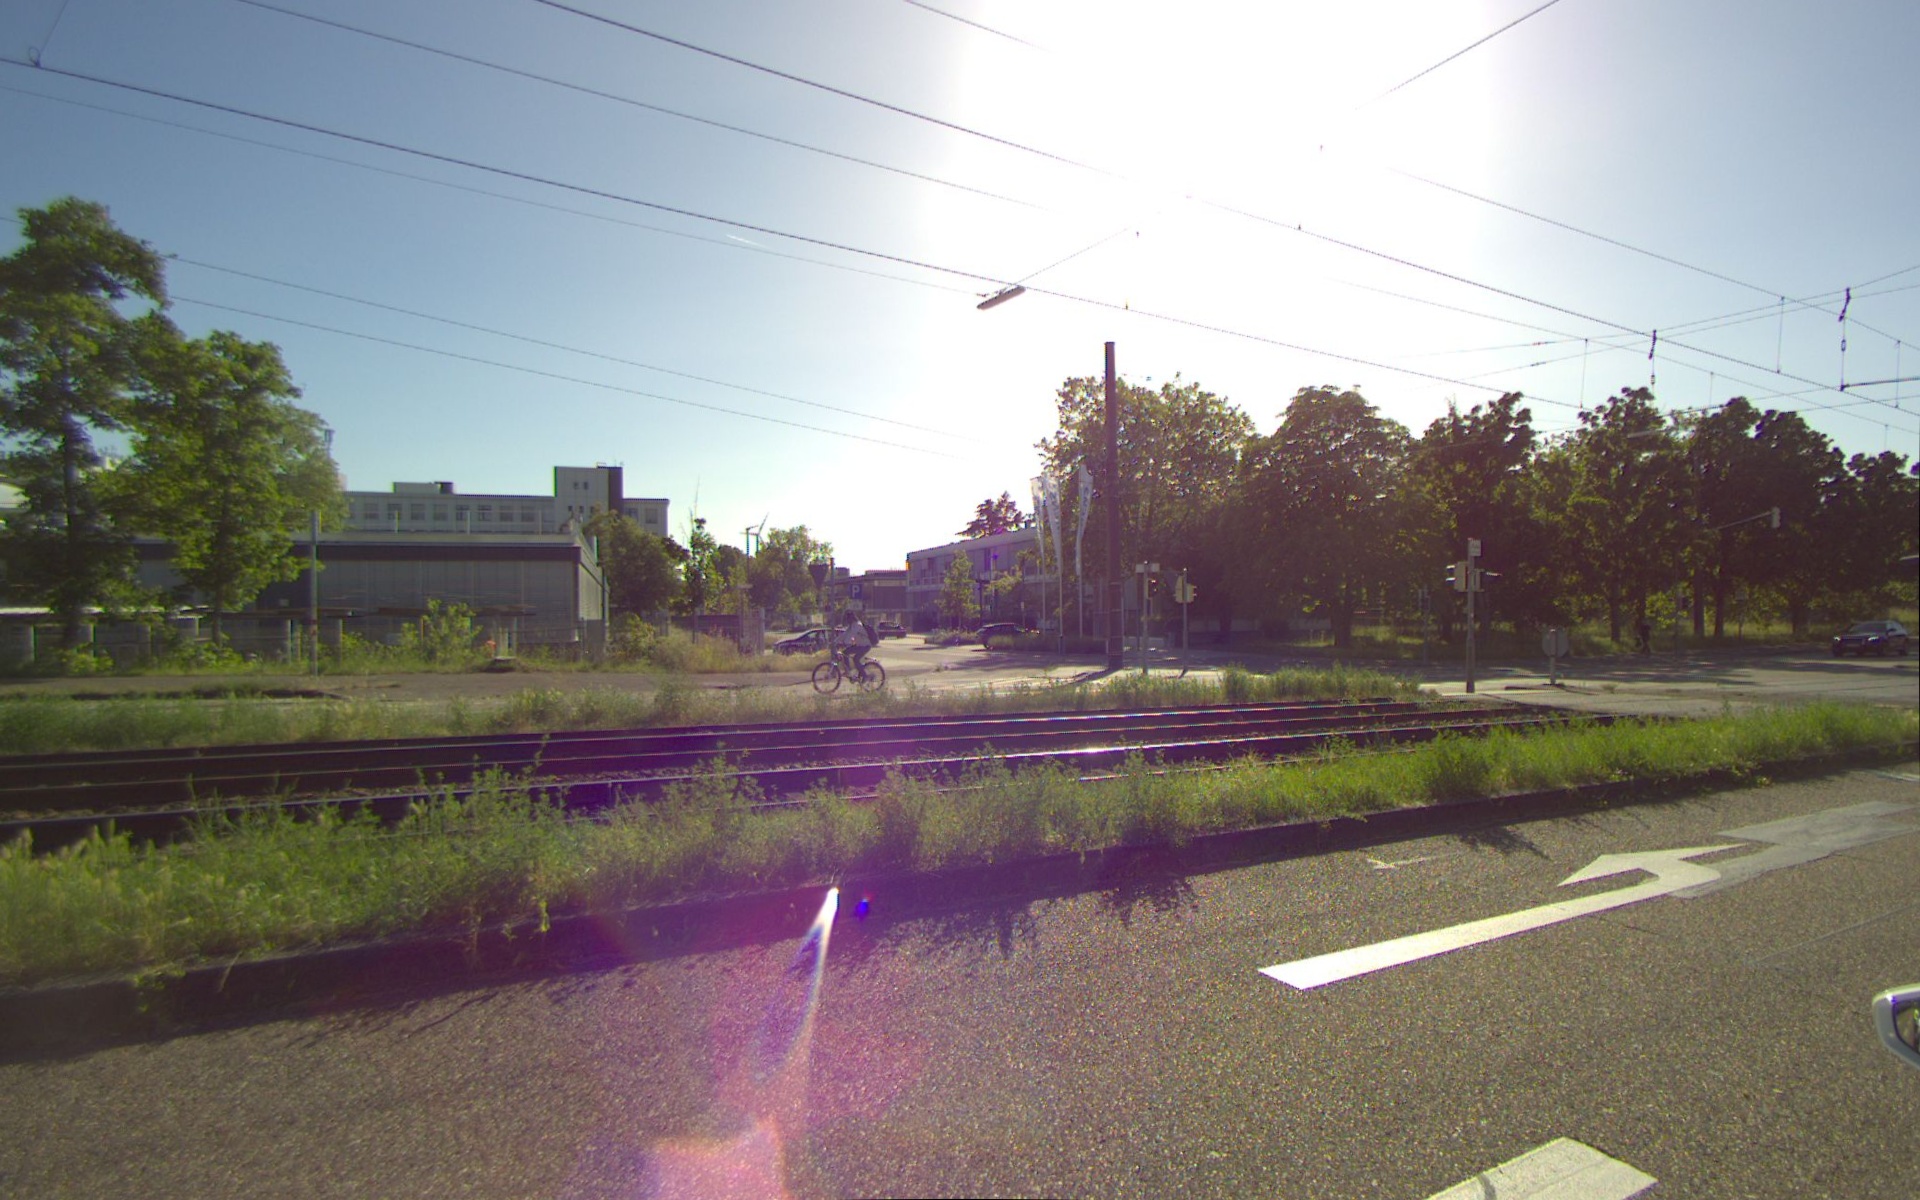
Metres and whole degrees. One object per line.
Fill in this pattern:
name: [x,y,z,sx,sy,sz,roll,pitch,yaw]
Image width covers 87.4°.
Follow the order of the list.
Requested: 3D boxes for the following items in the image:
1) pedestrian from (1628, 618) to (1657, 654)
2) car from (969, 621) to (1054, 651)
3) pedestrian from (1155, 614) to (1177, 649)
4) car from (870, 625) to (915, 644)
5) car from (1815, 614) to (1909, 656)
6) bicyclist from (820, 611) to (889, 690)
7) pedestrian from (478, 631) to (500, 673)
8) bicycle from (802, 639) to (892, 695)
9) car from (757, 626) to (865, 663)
pedestrian: [34.102,1.783,50.174,0.919,1.757,0.761,0,0,-2]
car: [3.164,2.192,61.690,4.768,1.751,2.042,1,0,-21]
pedestrian: [10.815,1.632,52.739,0.807,1.811,0.950,0,0,-16]
car: [-6.021,3.077,89.625,3.566,1.611,1.792,1,-1,-23]
car: [43.074,1.664,47.946,4.739,1.834,2.082,0,-2,-32]
bicyclist: [-2.230,1.051,21.240,1.221,1.614,0.799,1,0,-29]
pedestrian: [-14.739,1.619,31.445,0.432,1.318,0.441,0,0,18]
bicycle: [-2.378,1.393,21.161,1.760,1.117,0.693,1,0,-30]
car: [-7.716,2.293,51.896,5.210,1.772,2.164,1,0,-19]
